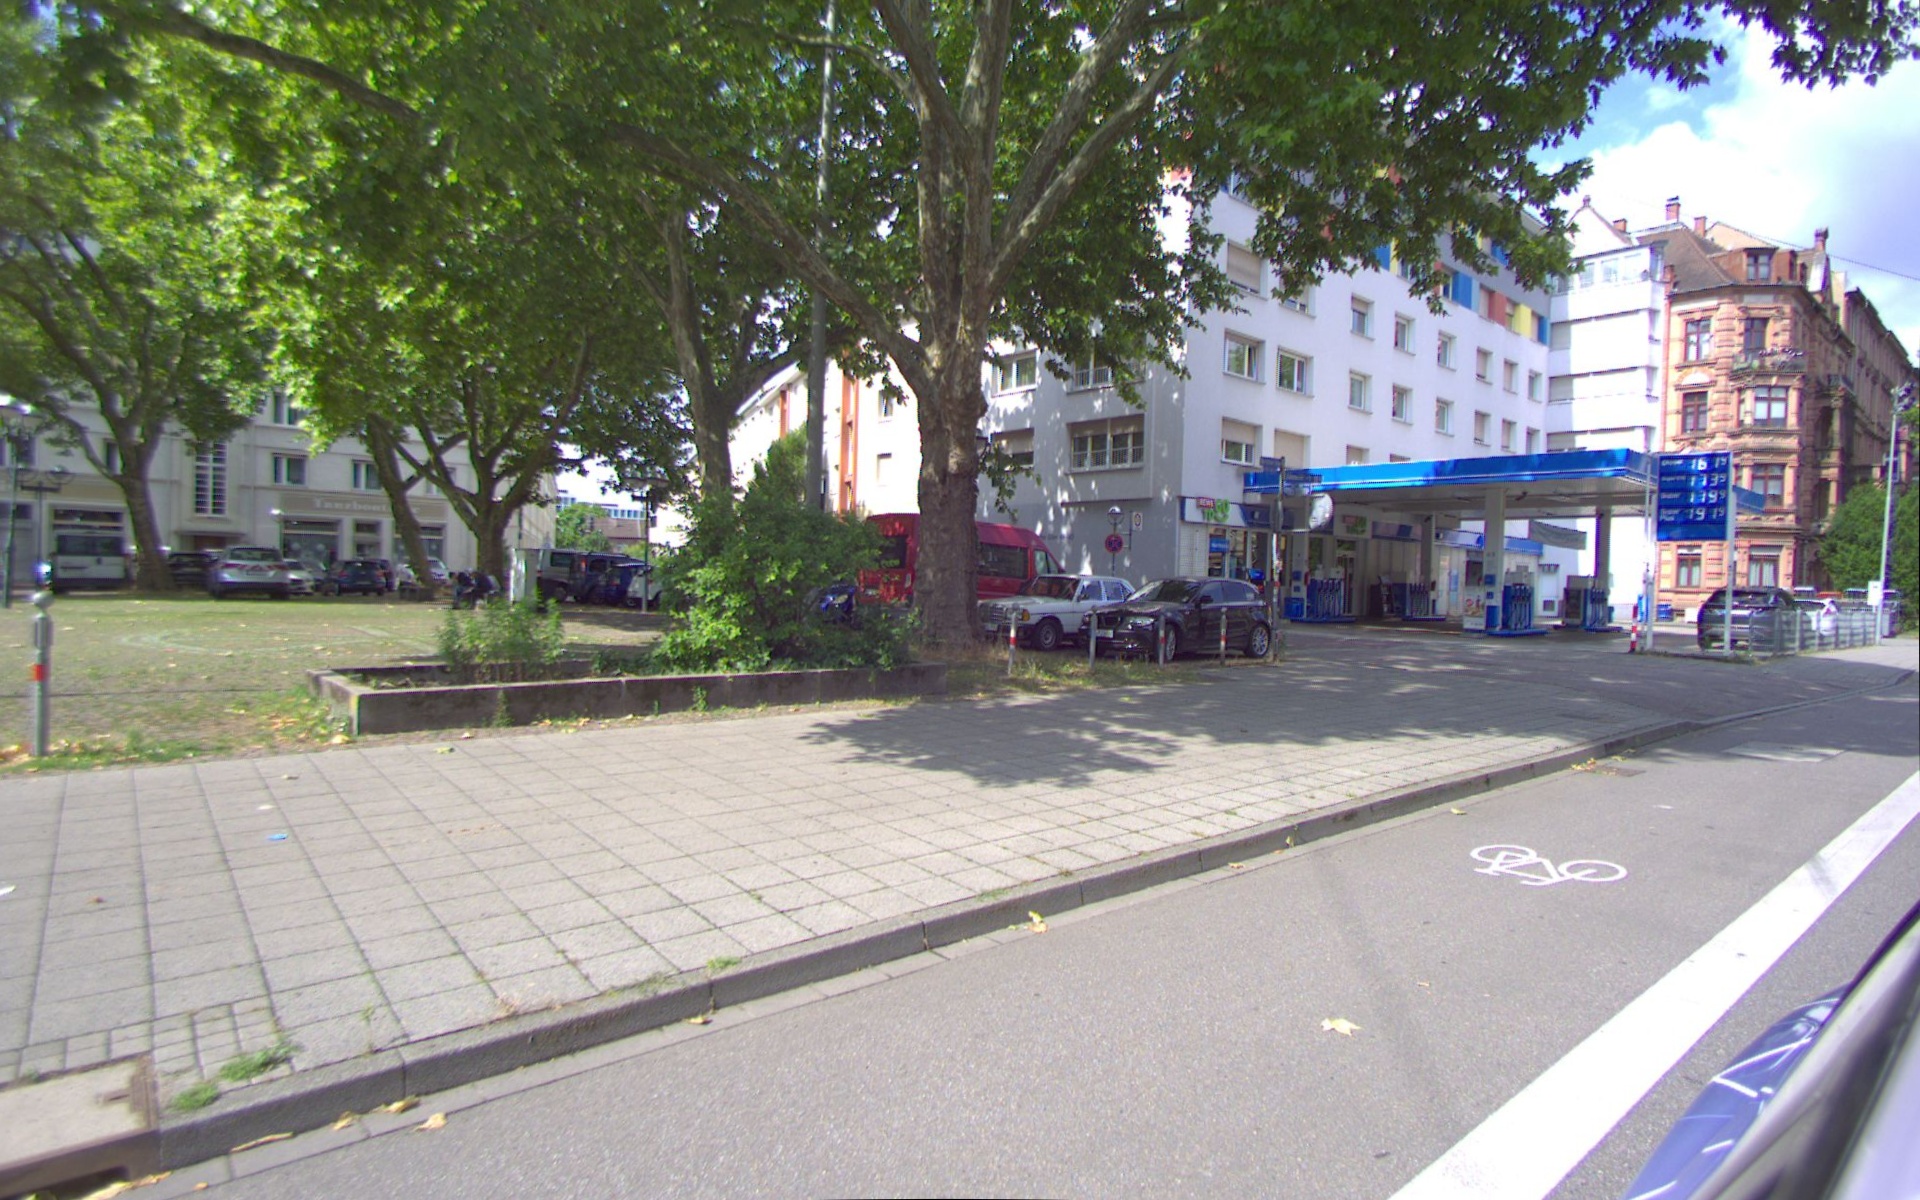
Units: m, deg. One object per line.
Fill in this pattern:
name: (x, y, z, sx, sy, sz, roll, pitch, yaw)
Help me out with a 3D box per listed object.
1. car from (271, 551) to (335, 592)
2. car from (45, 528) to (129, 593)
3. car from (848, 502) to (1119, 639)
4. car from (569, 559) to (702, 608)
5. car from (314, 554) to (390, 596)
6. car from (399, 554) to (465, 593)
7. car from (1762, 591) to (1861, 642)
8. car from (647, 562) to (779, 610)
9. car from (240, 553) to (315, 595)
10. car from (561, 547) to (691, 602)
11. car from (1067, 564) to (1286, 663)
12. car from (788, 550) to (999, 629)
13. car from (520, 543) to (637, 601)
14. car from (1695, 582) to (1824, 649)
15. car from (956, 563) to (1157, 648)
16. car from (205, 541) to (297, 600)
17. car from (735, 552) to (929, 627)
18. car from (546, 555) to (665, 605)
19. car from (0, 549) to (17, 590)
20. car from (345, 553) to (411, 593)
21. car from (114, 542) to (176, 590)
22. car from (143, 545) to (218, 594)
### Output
car: (-31.268, -1.376, 48.082, 2.151, 1.827, 4.757, 1, 2, -38)
car: (-29.701, -1.348, 34.537, 2.040, 2.038, 4.264, 0, 2, -40)
car: (0.659, -0.581, 22.075, 5.911, 2.614, 2.117, 1, 2, -39)
car: (-10.059, -0.499, 31.520, 3.581, 1.433, 1.647, 1, 0, -43)
car: (-24.236, -1.028, 40.262, 1.964, 1.543, 4.162, 0, 2, -40)
car: (-26.751, -1.380, 51.208, 2.151, 1.827, 4.757, 1, 2, -38)
car: (26.642, 0.492, 31.631, 3.932, 1.473, 1.809, 0, 1, -41)
car: (-7.477, -0.392, 30.794, 3.581, 1.380, 1.582, 1, 0, -43)
car: (-25.463, -0.976, 37.702, 1.924, 1.439, 4.174, 0, 2, -40)
car: (-11.765, -0.858, 35.756, 3.979, 1.843, 1.824, 1, 0, -43)
car: (3.823, 0.196, 17.512, 3.973, 1.488, 1.651, 0, 2, -42)
car: (-1.464, -0.217, 23.455, 4.568, 1.672, 2.011, 1, 0, -39)
car: (-14.002, -1.023, 37.201, 3.581, 2.012, 1.825, 0, 2, -43)
car: (21.406, 0.377, 27.044, 4.501, 1.622, 1.810, 0, 1, -40)
car: (1.938, 0.076, 19.448, 3.976, 1.447, 1.650, 0, 2, -44)
car: (-21.646, -0.923, 30.823, 1.964, 1.656, 4.162, 0, 2, -40)
car: (-3.234, -0.246, 26.032, 4.568, 1.776, 2.011, 1, 0, -39)
car: (-11.603, -0.627, 33.193, 3.320, 1.527, 1.600, 1, 0, -43)
car: (-39.490, -1.281, 40.711, 2.001, 1.569, 4.692, 0, 2, -40)
car: (-28.637, -1.359, 49.734, 2.151, 1.827, 4.695, 1, 2, -38)
car: (-35.644, -1.504, 44.250, 2.001, 1.953, 4.692, 0, 2, -40)
car: (-27.845, -1.101, 36.089, 1.964, 1.614, 4.264, 0, 2, -40)
